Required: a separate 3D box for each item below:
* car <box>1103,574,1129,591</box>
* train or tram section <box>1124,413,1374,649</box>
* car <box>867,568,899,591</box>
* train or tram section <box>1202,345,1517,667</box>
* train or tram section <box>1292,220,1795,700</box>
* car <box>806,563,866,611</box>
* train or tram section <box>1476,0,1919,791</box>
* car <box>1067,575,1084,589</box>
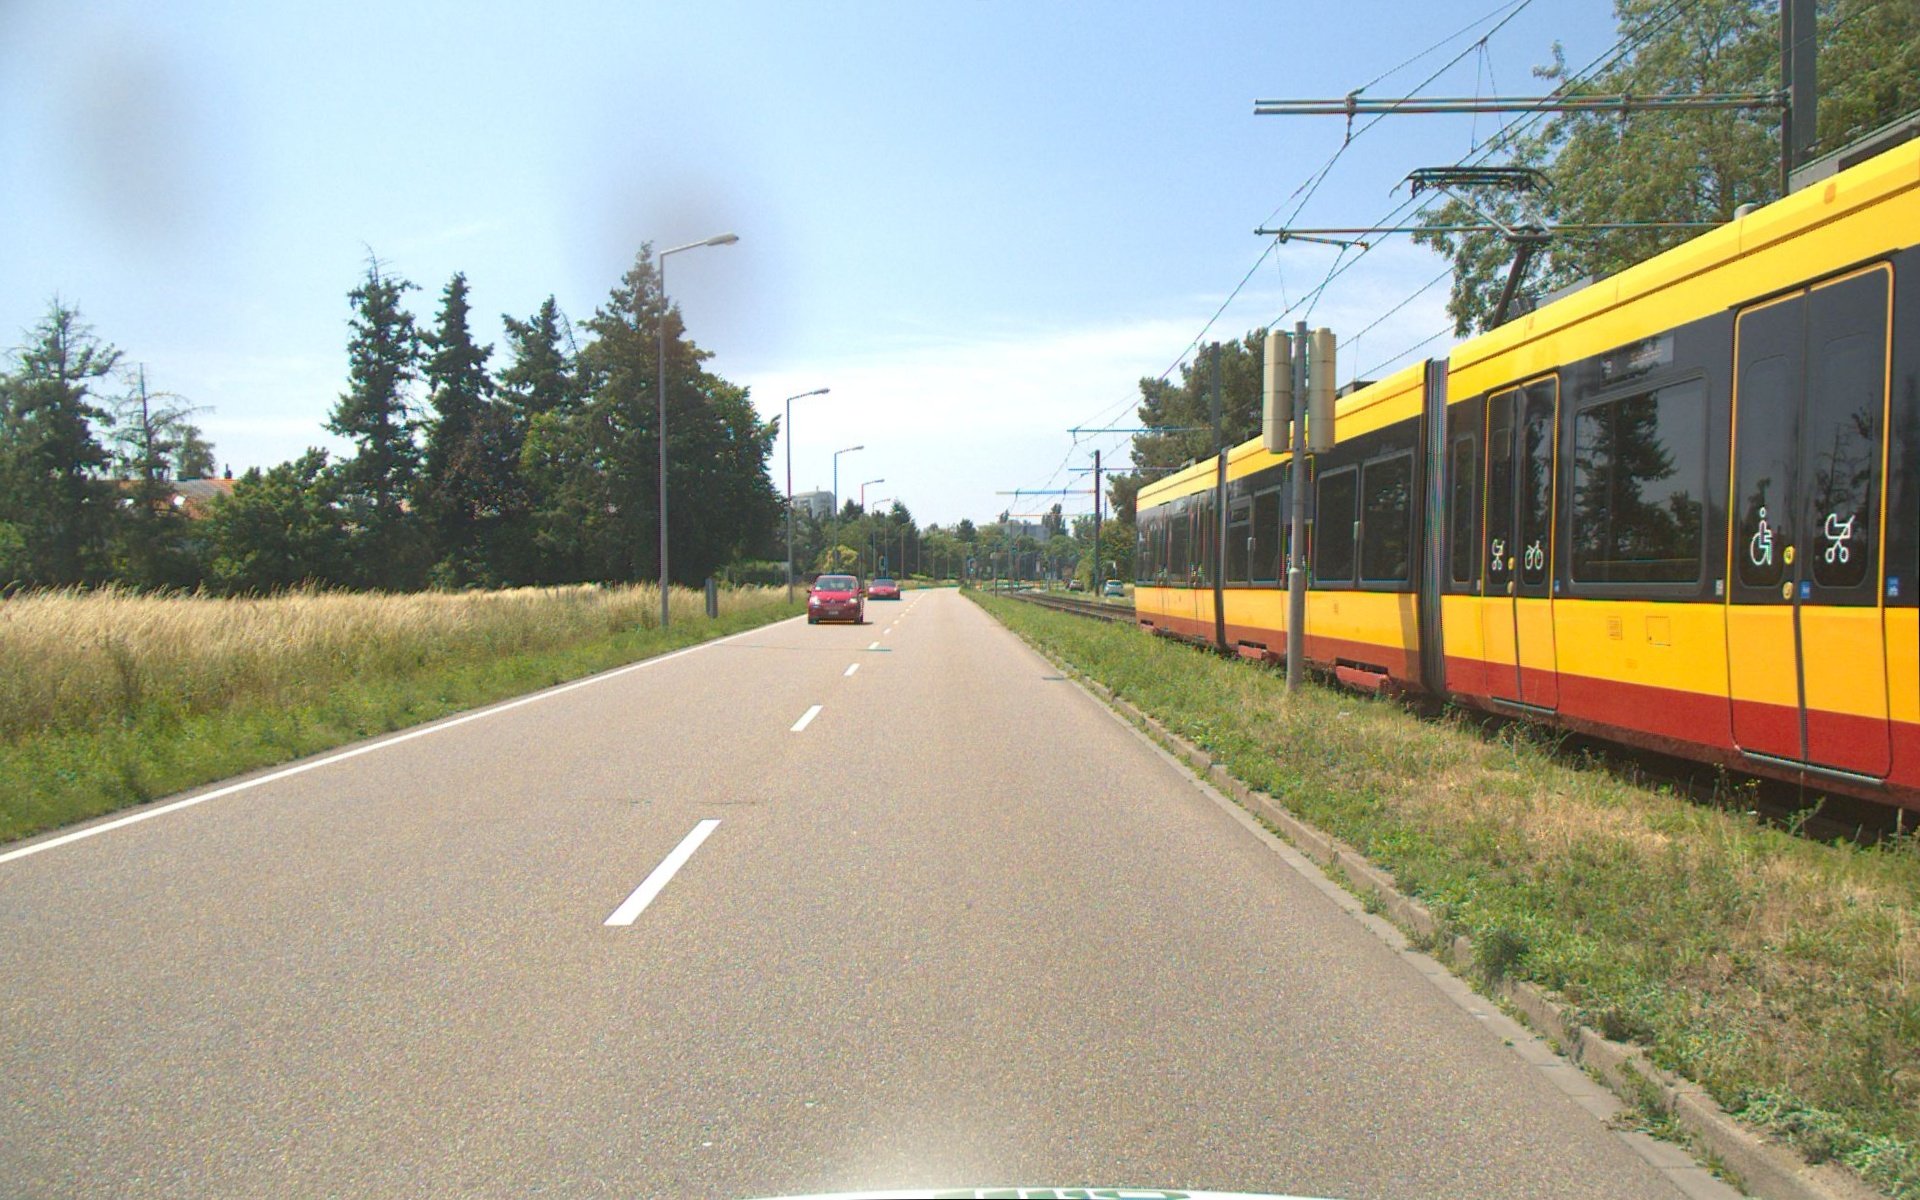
[{"bbox_3d":[14.633,-1.632,155.349,1.953,1.534,3.999,-1,0,-1],"label":"car"},{"bbox_3d":[5.199,-1.109,32.191,2.709,3.754,11.184,-1,0,-1],"label":"train or tram section"},{"bbox_3d":[-4.585,-1.234,99.502,1.770,1.308,4.285,-1,0,-1],"label":"car"},{"bbox_3d":[5.293,-1.133,23.221,2.646,3.832,6.728,-1,0,-1],"label":"train or tram section"},{"bbox_3d":[5.311,-1.117,16.496,2.508,3.778,6.728,-1,0,-1],"label":"train or tram section"},{"bbox_3d":[-3.826,-0.399,51.544,1.612,1.424,3.844,-1,0,-1],"label":"car"},{"bbox_3d":[5.396,-1.093,7.361,2.380,3.832,11.557,-1,0,-1],"label":"train or tram section"},{"bbox_3d":[14.694,-2.273,210.983,1.876,1.691,3.999,-1,0,-1],"label":"car"}]
